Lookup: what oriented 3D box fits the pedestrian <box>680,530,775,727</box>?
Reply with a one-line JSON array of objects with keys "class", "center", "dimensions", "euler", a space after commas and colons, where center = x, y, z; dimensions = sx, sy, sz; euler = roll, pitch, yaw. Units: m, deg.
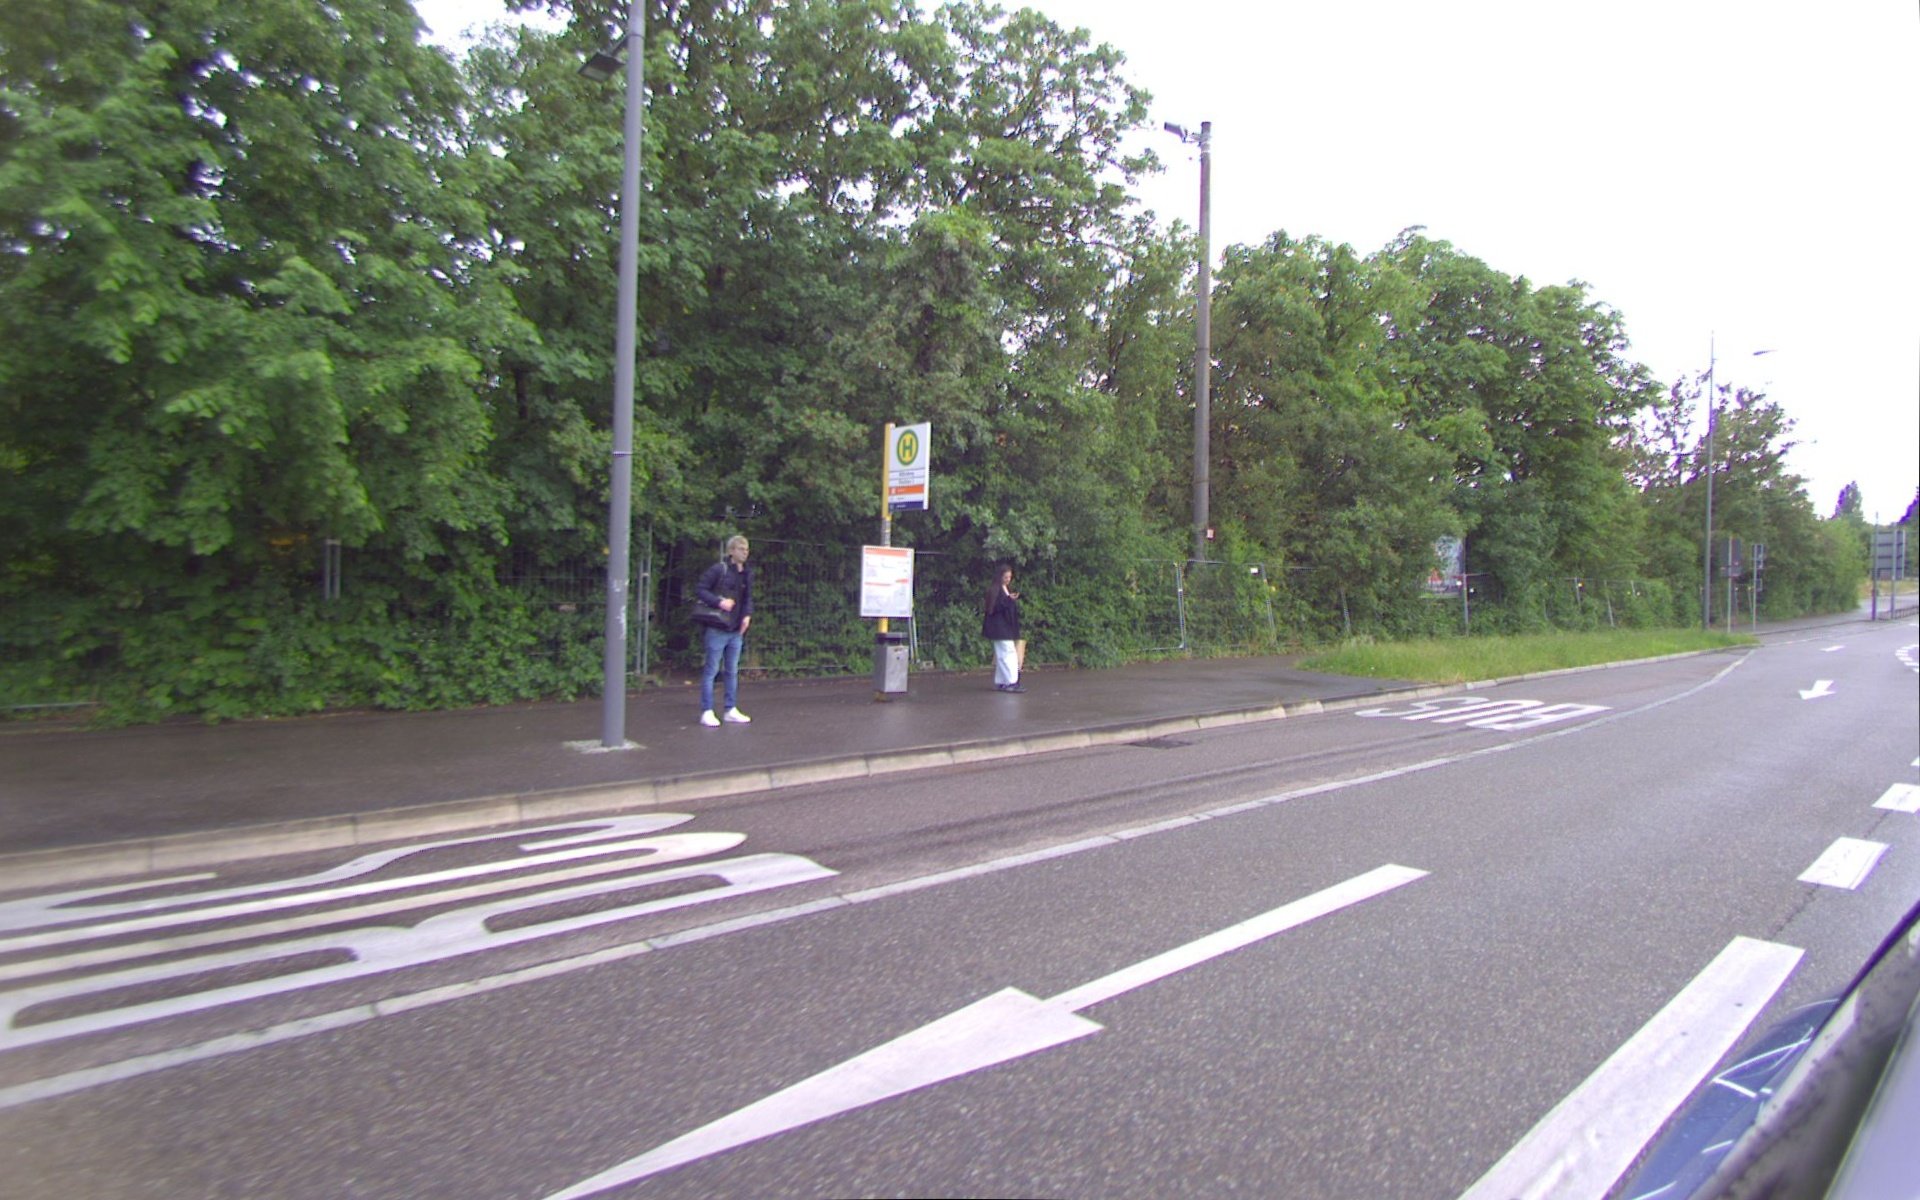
[{"class": "pedestrian", "center": [-2.385, 0.266, 10.385], "dimensions": [0.640, 1.924, 0.707], "euler": [2, 1, 44]}]

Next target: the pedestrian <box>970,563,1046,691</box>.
[{"class": "pedestrian", "center": [0.661, 0.344, 13.862], "dimensions": [0.676, 1.678, 0.780], "euler": [2, 1, 44]}]
